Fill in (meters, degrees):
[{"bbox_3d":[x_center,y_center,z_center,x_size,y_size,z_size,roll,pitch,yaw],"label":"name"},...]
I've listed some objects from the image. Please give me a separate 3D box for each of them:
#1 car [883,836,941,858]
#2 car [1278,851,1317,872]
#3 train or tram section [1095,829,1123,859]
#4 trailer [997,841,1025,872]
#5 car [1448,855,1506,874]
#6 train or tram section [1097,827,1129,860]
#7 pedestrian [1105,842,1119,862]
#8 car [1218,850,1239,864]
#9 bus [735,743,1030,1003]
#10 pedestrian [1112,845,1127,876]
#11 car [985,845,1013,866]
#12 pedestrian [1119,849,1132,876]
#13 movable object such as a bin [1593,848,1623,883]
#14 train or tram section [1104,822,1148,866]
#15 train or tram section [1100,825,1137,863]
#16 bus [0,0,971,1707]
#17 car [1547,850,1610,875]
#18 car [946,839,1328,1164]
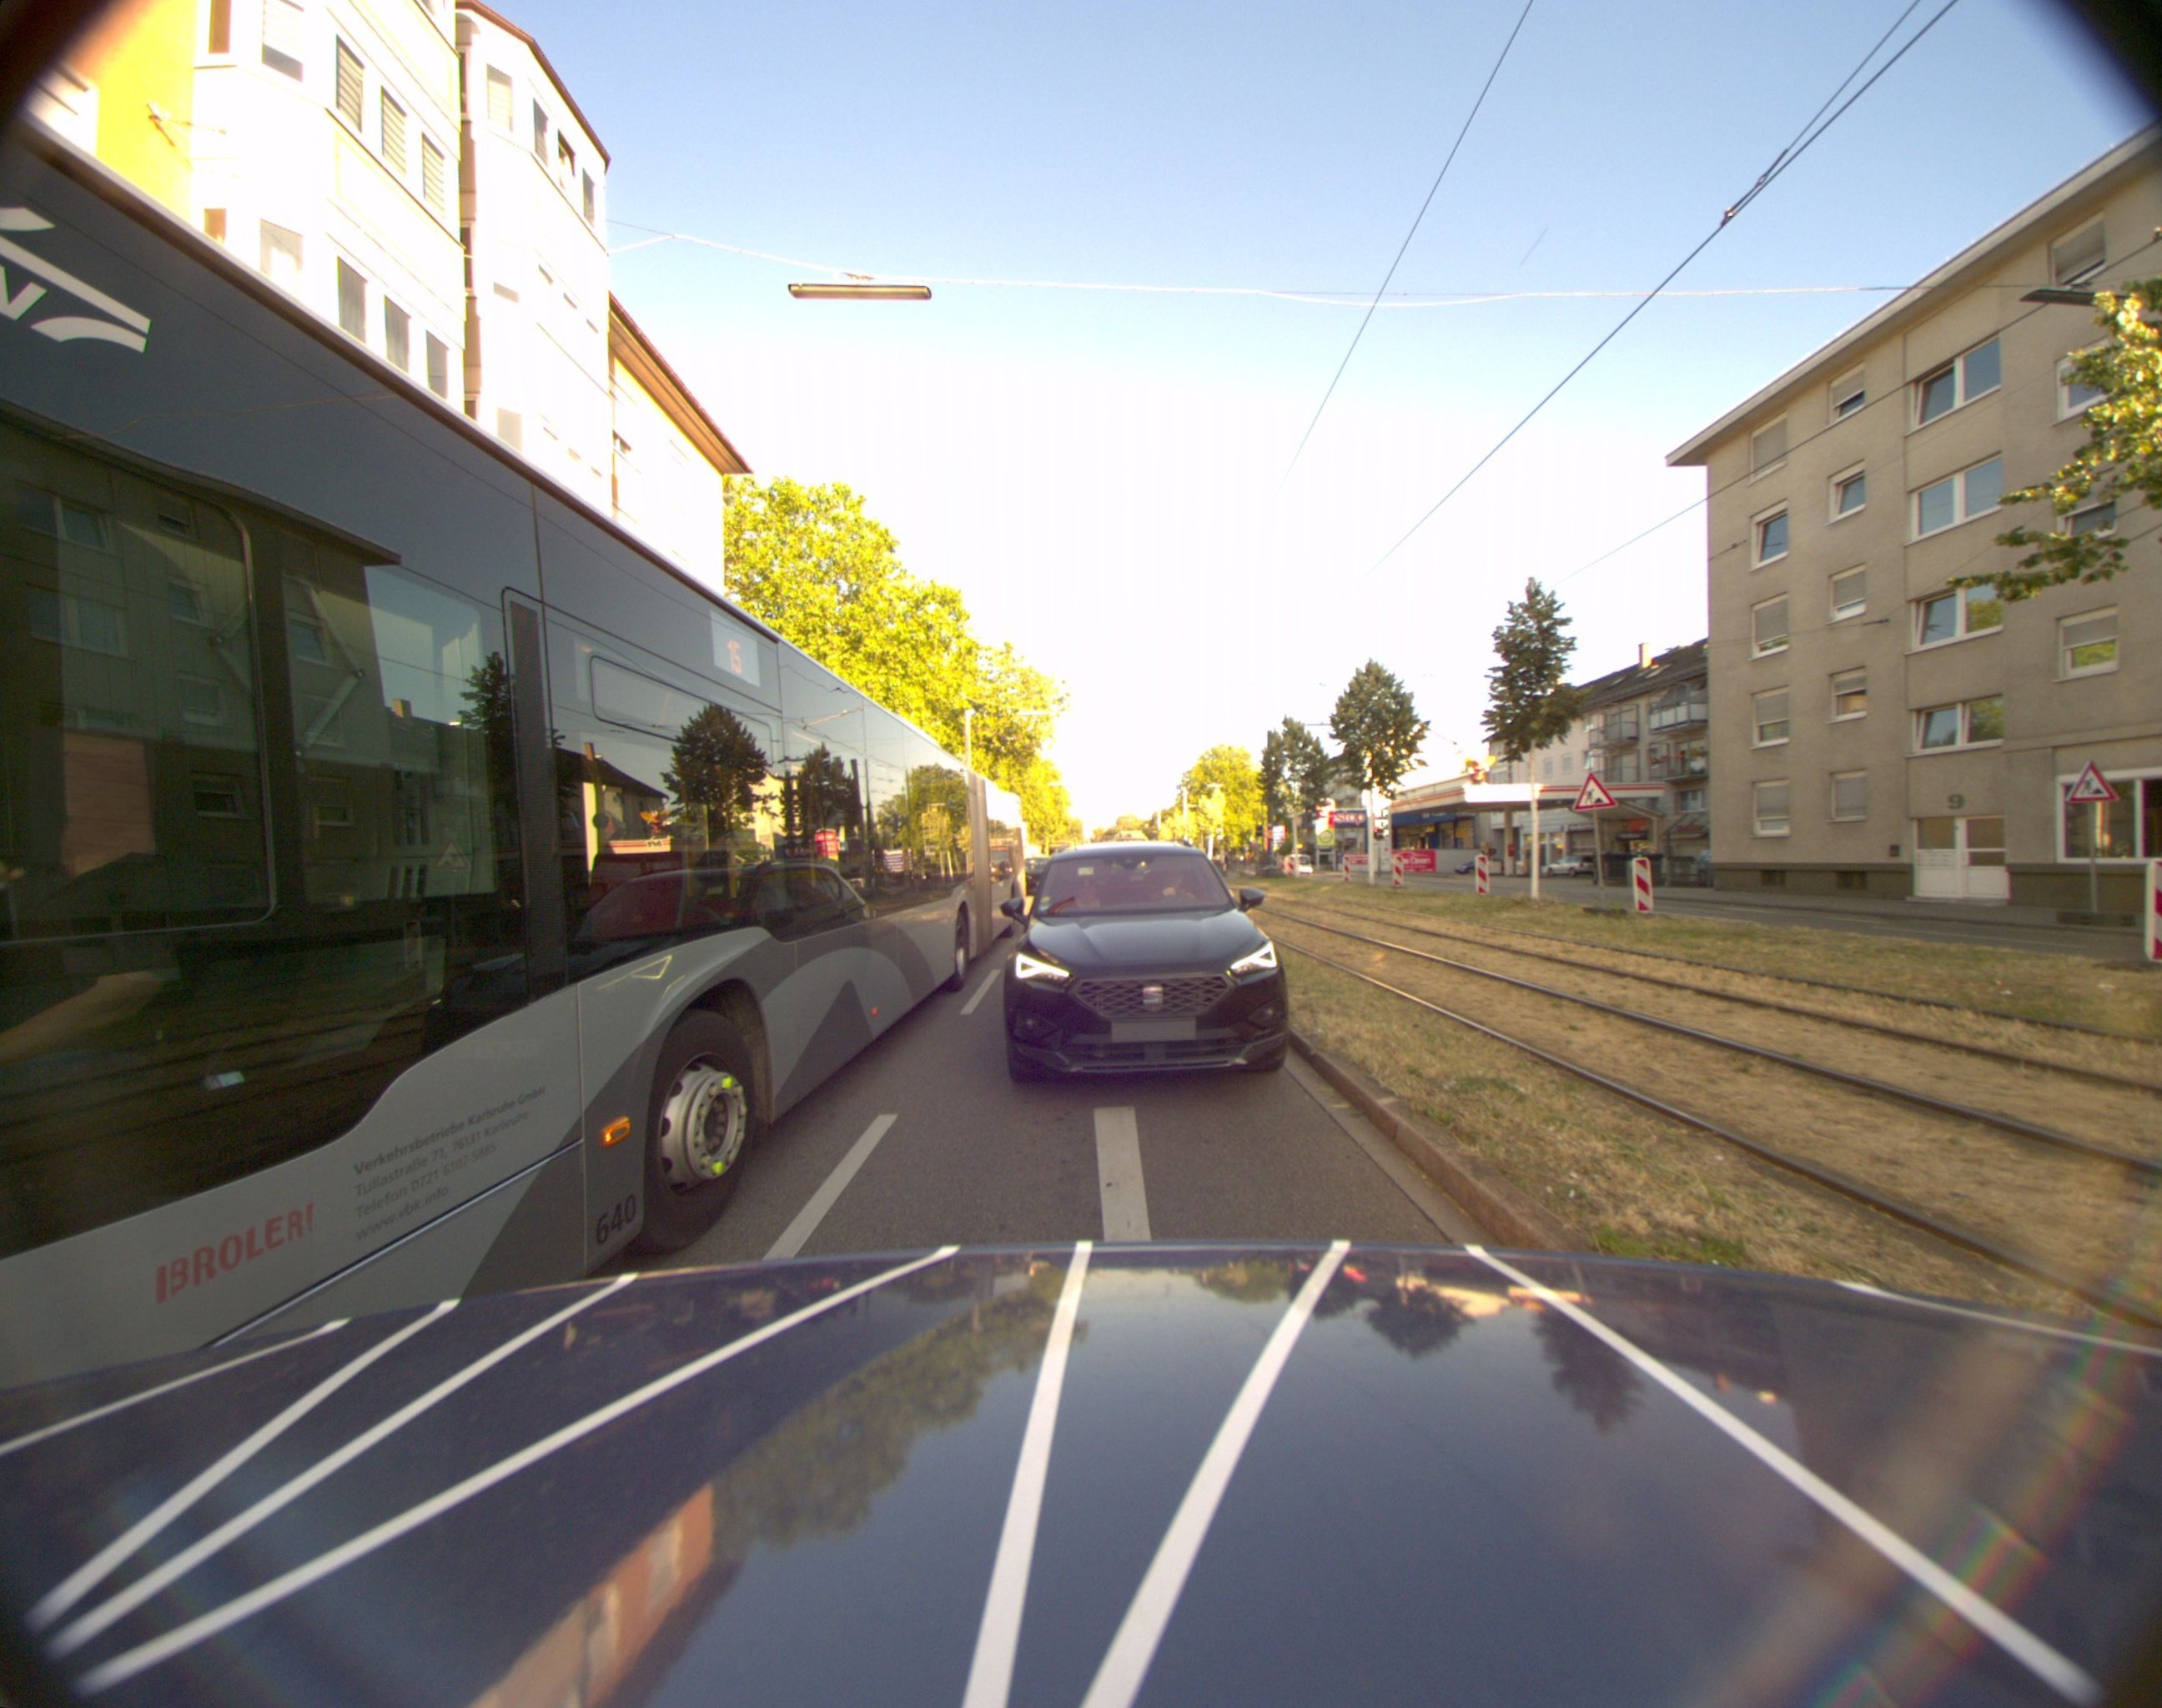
[{"bbox_3d":[-13.425,-0.541,60.665,4.122,1.541,1.803,-3,0,2],"label":"car"},{"bbox_3d":[16.148,0.500,56.778,1.816,1.503,3.828,0,1,0],"label":"car"},{"bbox_3d":[3.401,-1.258,95.994,3.043,3.497,10.094,0,1,-1],"label":"train or tram section"},{"bbox_3d":[-6.106,0.205,66.596,1.890,2.573,4.650,-1,0,1],"label":"trailer"},{"bbox_3d":[32.596,0.878,62.656,3.803,1.514,1.818,-1,0,3],"label":"car"},{"bbox_3d":[3.548,-1.136,85.878,3.043,3.497,10.094,0,1,-1],"label":"train or tram section"},{"bbox_3d":[2.522,-0.154,61.445,0.918,1.541,0.788,-2,1,-8],"label":"pedestrian"},{"bbox_3d":[17.382,0.304,89.701,1.816,1.551,4.935,-1,1,3],"label":"car"},{"bbox_3d":[-2.700,0.224,13.630,2.745,3.038,8.853,-2,0,1],"label":"bus"},{"bbox_3d":[2.404,0.431,48.066,0.860,1.921,0.755,-1,1,-2],"label":"pedestrian"},{"bbox_3d":[-6.492,0.149,60.446,1.800,1.621,4.000,0,0,0],"label":"car"},{"bbox_3d":[2.890,0.558,49.076,0.755,1.737,0.860,-1,1,-3],"label":"pedestrian"},{"bbox_3d":[21.320,0.455,30.743,0.665,1.392,0.749,0,1,-1],"label":"movable object such as a bin"},{"bbox_3d":[3.775,-0.879,65.704,3.043,3.497,10.094,0,1,-1],"label":"train or tram section"},{"bbox_3d":[3.662,-1.010,75.796,3.043,3.497,10.094,0,1,-1],"label":"train or tram section"},{"bbox_3d":[-2.818,0.242,4.672,2.745,3.038,9.131,-2,0,1],"label":"bus"},{"bbox_3d":[33.800,0.567,51.734,1.816,1.514,3.828,-3,1,2],"label":"car"},{"bbox_3d":[0.319,0.770,6.006,1.910,1.606,4.085,-3,0,1],"label":"car"}]
